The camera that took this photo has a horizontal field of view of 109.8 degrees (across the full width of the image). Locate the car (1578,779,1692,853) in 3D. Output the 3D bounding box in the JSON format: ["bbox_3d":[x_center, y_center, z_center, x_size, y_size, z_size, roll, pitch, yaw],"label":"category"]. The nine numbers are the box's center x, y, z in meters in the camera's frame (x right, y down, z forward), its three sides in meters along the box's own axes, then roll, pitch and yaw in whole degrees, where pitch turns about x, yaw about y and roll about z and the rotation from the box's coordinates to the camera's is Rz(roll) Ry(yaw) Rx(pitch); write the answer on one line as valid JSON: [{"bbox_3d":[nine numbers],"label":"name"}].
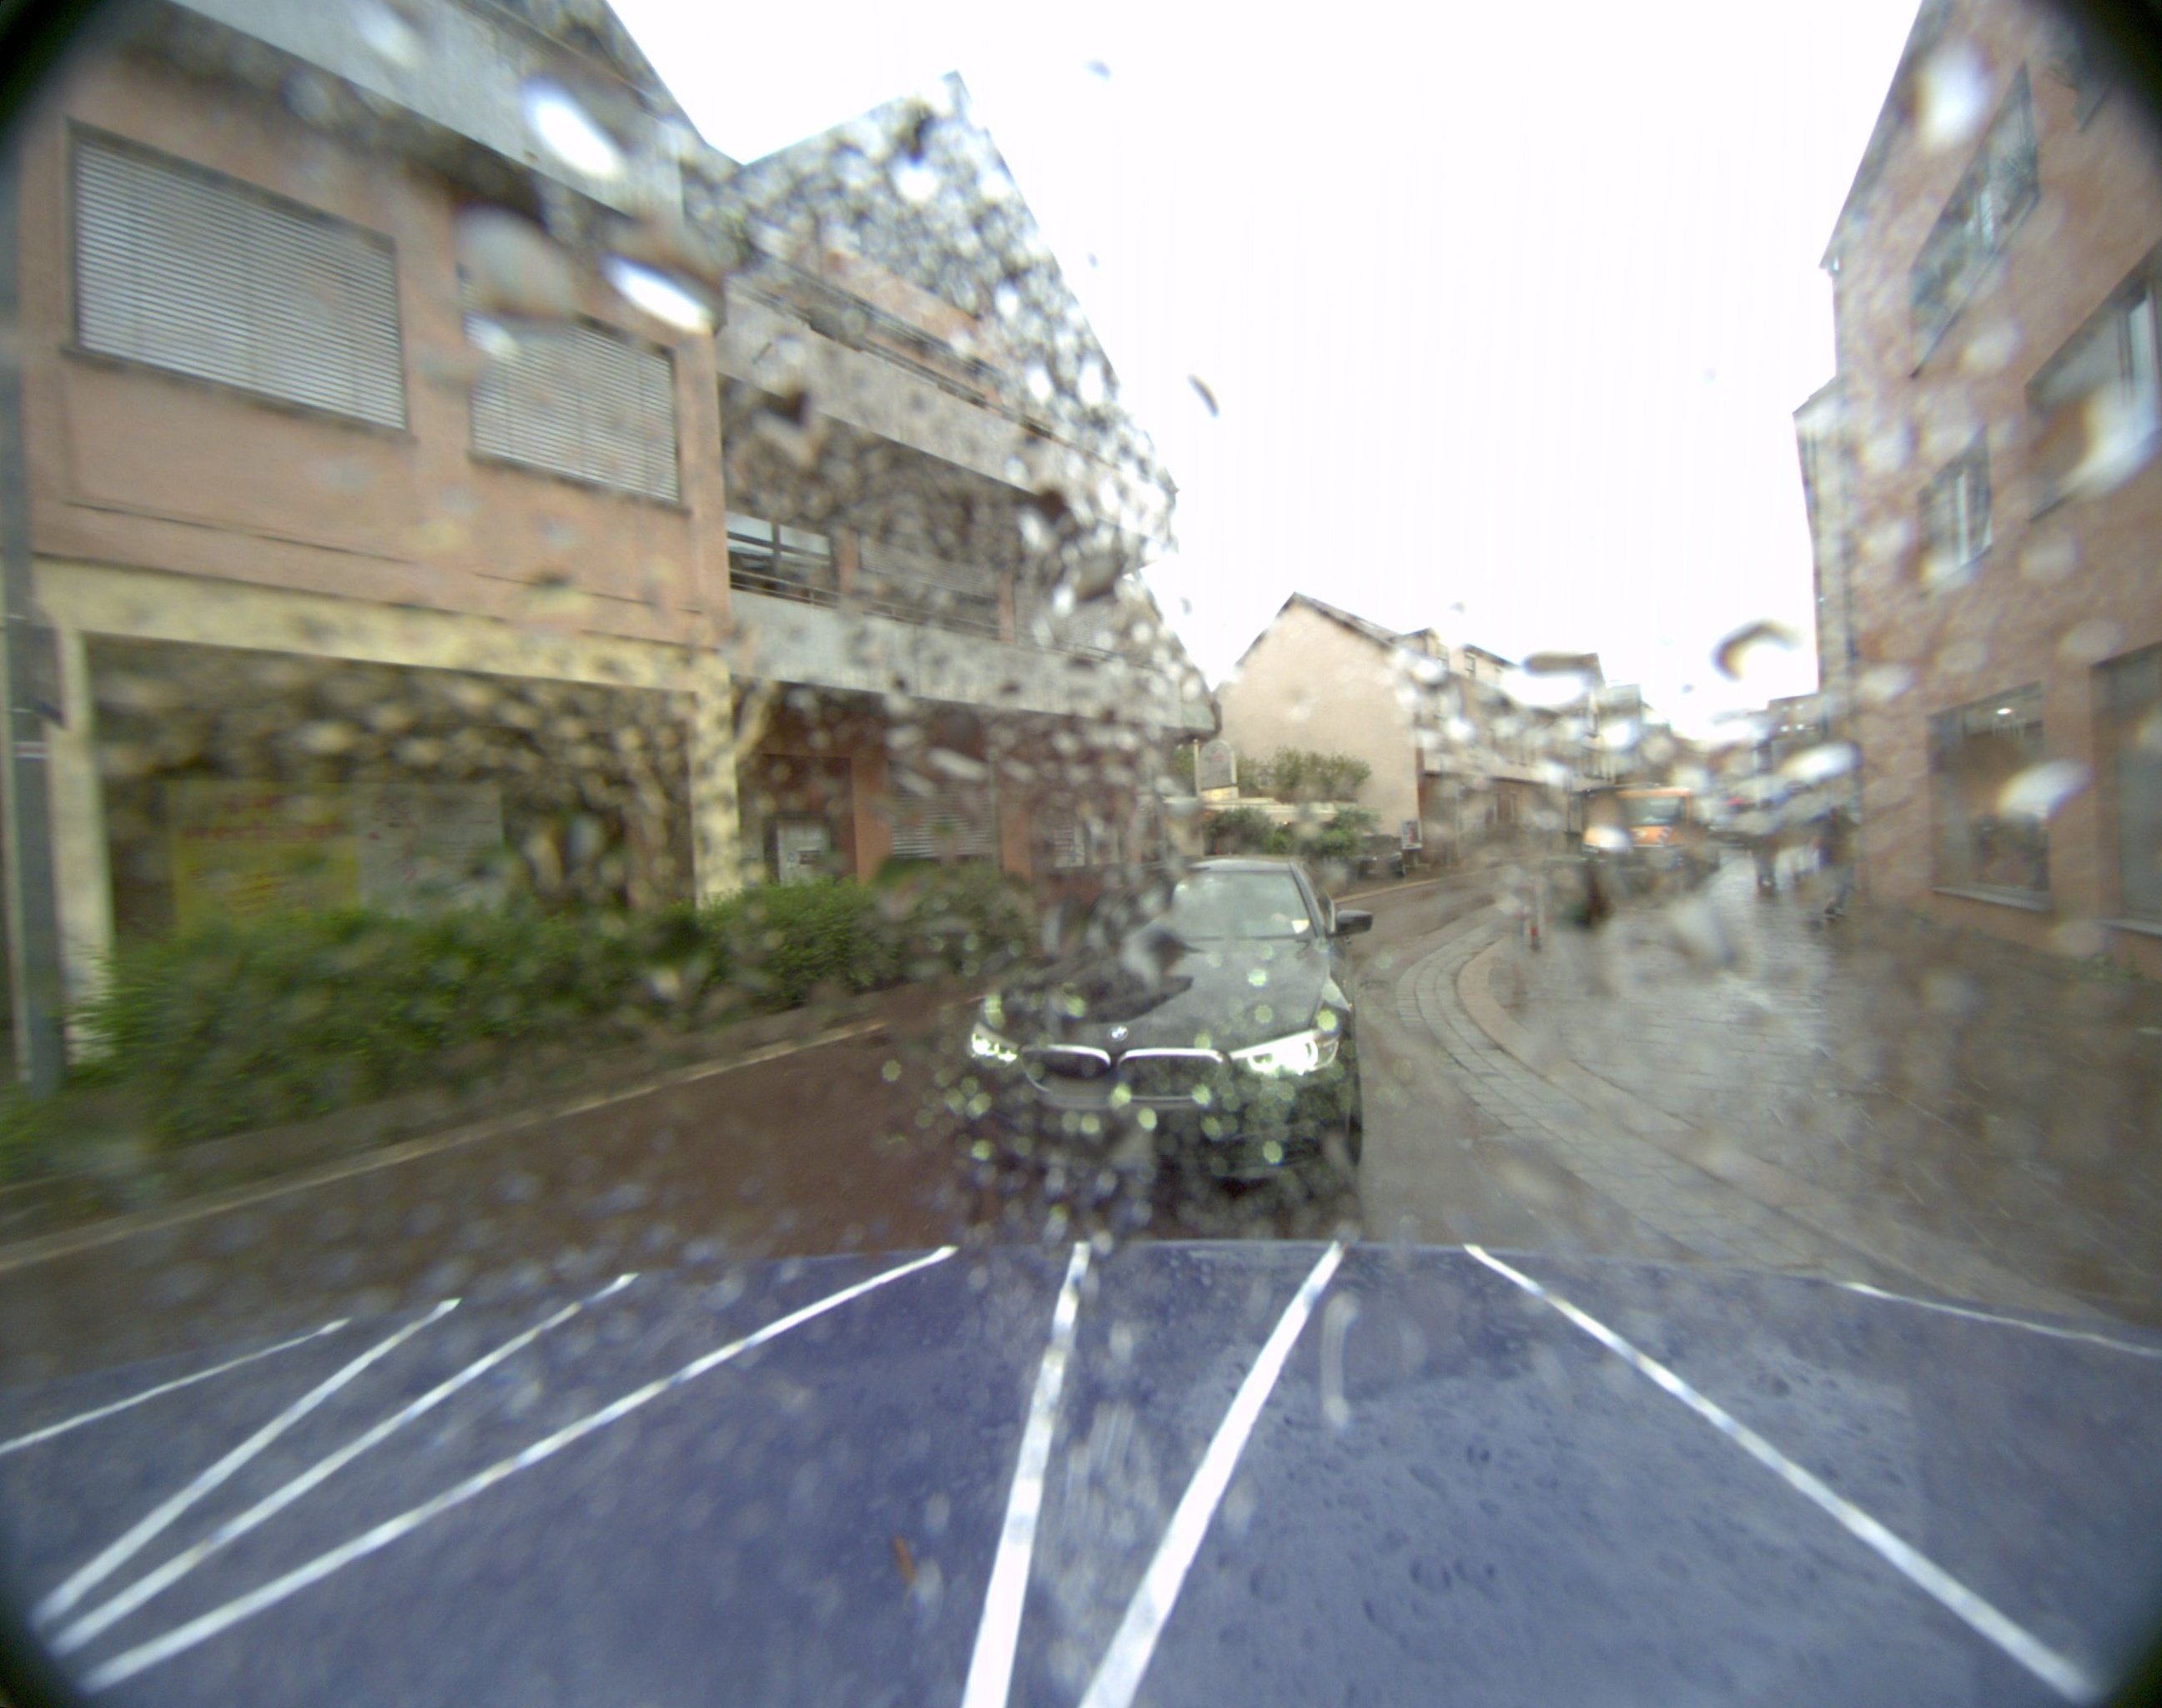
[{"bbox_3d":[25.279,-1.650,34.462,8.861,2.857,2.705,-3,0,-45],"label":"car"}]

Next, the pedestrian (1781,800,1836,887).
[{"bbox_3d":[14.883,-0.219,15.563,0.623,1.702,0.810,-4,0,36],"label":"pedestrian"}]

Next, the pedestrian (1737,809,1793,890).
[{"bbox_3d":[14.351,-0.095,15.971,0.715,1.630,0.747,-4,0,36],"label":"pedestrian"}]

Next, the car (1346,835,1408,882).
[{"bbox_3d":[9.912,0.098,25.487,1.735,1.349,3.941,-3,1,21],"label":"car"}]

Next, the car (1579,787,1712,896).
[{"bbox_3d":[13.838,-0.359,18.437,1.994,2.227,5.872,-2,1,42],"label":"car"}]

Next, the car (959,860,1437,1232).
[{"bbox_3d":[0.816,0.852,5.421,1.946,1.394,4.422,-3,1,9],"label":"car"}]

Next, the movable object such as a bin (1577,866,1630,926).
[{"bbox_3d":[8.616,0.697,12.533,0.582,0.921,0.482,-5,-1,44],"label":"movable object such as a bin"}]

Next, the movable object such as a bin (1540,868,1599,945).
[{"bbox_3d":[6.959,0.737,10.817,0.657,1.031,0.611,-2,1,34],"label":"movable object such as a bin"}]

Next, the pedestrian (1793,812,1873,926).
[{"bbox_3d":[10.920,0.213,11.058,0.660,1.600,0.685,-2,1,33],"label":"pedestrian"}]

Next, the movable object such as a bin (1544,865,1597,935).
[{"bbox_3d":[7.651,0.710,11.873,0.657,1.031,0.611,-2,1,34],"label":"movable object such as a bin"}]
